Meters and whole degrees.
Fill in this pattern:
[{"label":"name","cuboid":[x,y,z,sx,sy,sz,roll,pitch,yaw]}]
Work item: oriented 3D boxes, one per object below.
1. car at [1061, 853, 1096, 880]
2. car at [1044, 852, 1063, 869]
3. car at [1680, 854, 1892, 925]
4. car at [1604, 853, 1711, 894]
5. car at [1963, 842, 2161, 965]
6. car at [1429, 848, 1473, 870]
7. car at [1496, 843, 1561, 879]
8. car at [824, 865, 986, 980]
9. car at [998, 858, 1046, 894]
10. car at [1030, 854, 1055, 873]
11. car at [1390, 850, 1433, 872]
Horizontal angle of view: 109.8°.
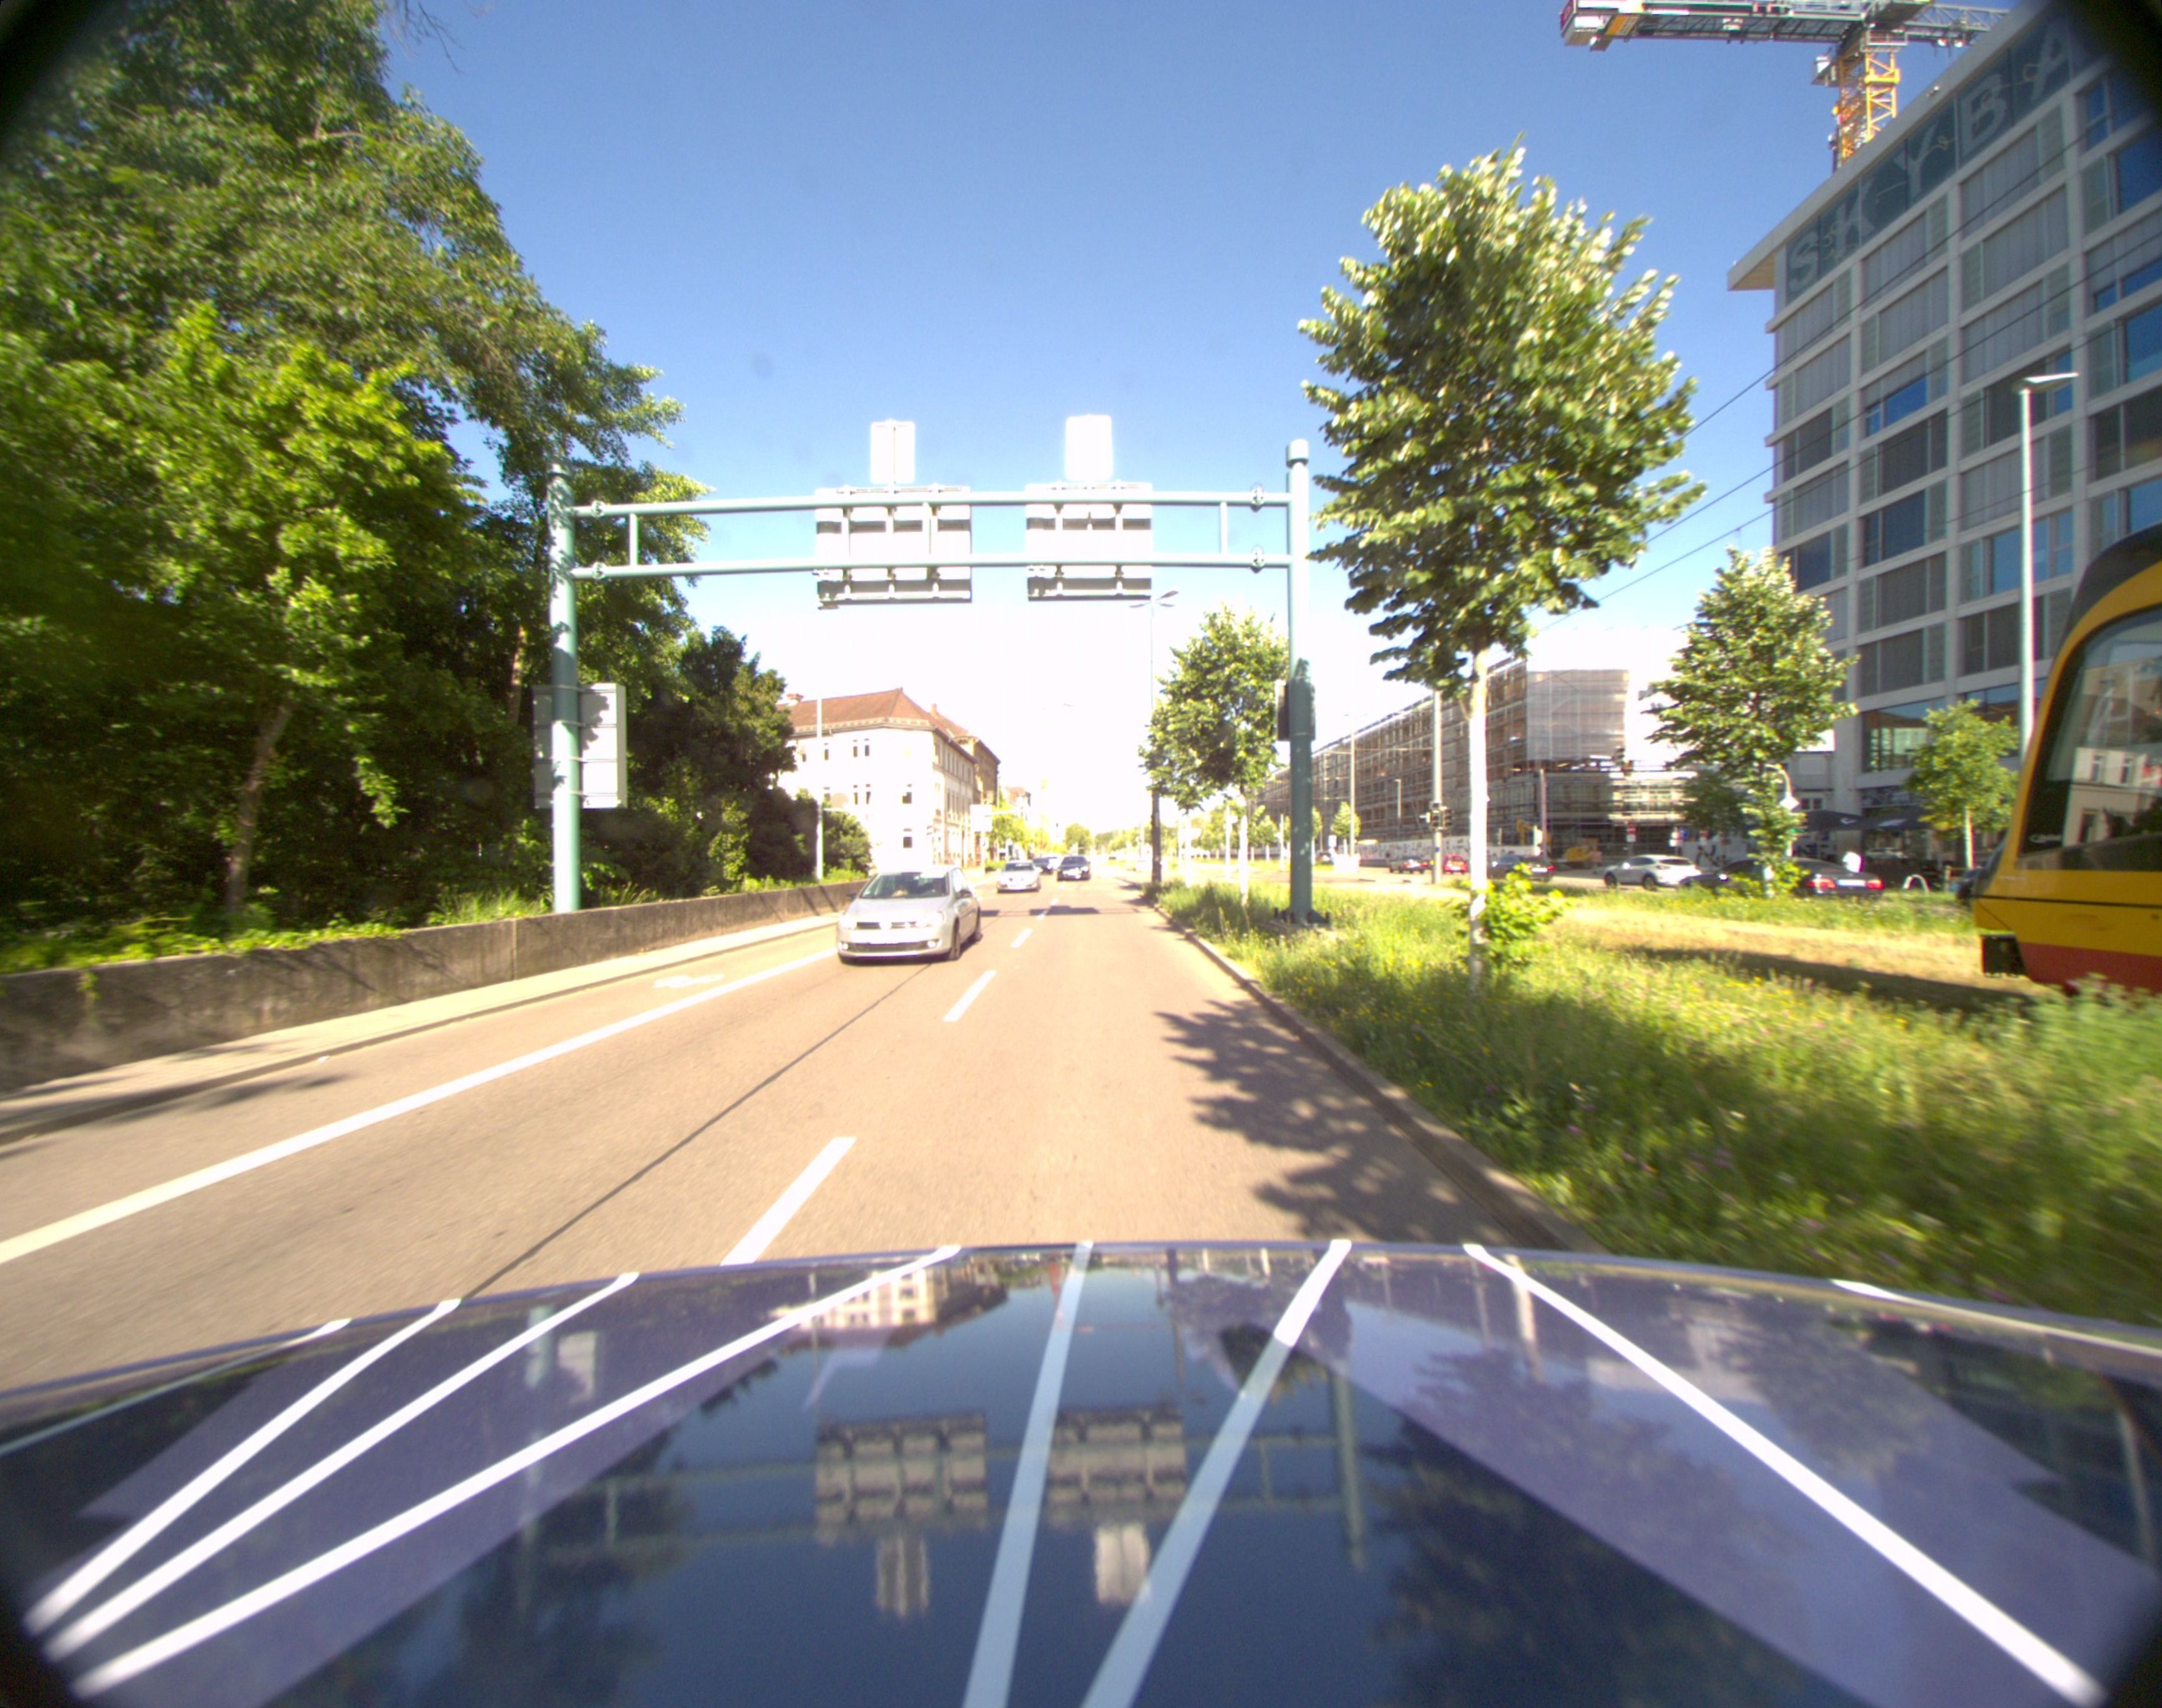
[{"label":"car","cuboid":[-0.208,0.705,45.370,1.999,1.493,3.999,0,1,-2]},{"label":"car","cuboid":[-2.751,0.638,76.546,1.703,1.622,3.999,-2,1,0]},{"label":"car","cuboid":[17.622,0.814,19.294,1.729,1.543,4.000,-2,1,1]},{"label":"car","cuboid":[24.314,0.768,32.244,1.742,1.537,4.001,-2,1,5]},{"label":"car","cuboid":[17.327,0.734,11.958,1.998,1.809,4.286,-2,1,2]},{"label":"car","cuboid":[28.079,0.379,57.750,1.888,1.565,4.002,-2,1,9]},{"label":"car","cuboid":[22.156,0.303,37.779,1.775,1.664,3.893,-1,1,15]},{"label":"car","cuboid":[-2.711,0.987,12.642,1.703,1.466,3.999,-2,1,0]},{"label":"car","cuboid":[-2.613,0.946,34.534,1.839,1.415,3.999,-2,1,0]},{"label":"car","cuboid":[-3.083,0.713,61.622,1.703,1.415,3.999,-2,1,0]},{"label":"car","cuboid":[24.522,0.495,56.507,1.888,1.565,4.002,-2,1,9]}]
